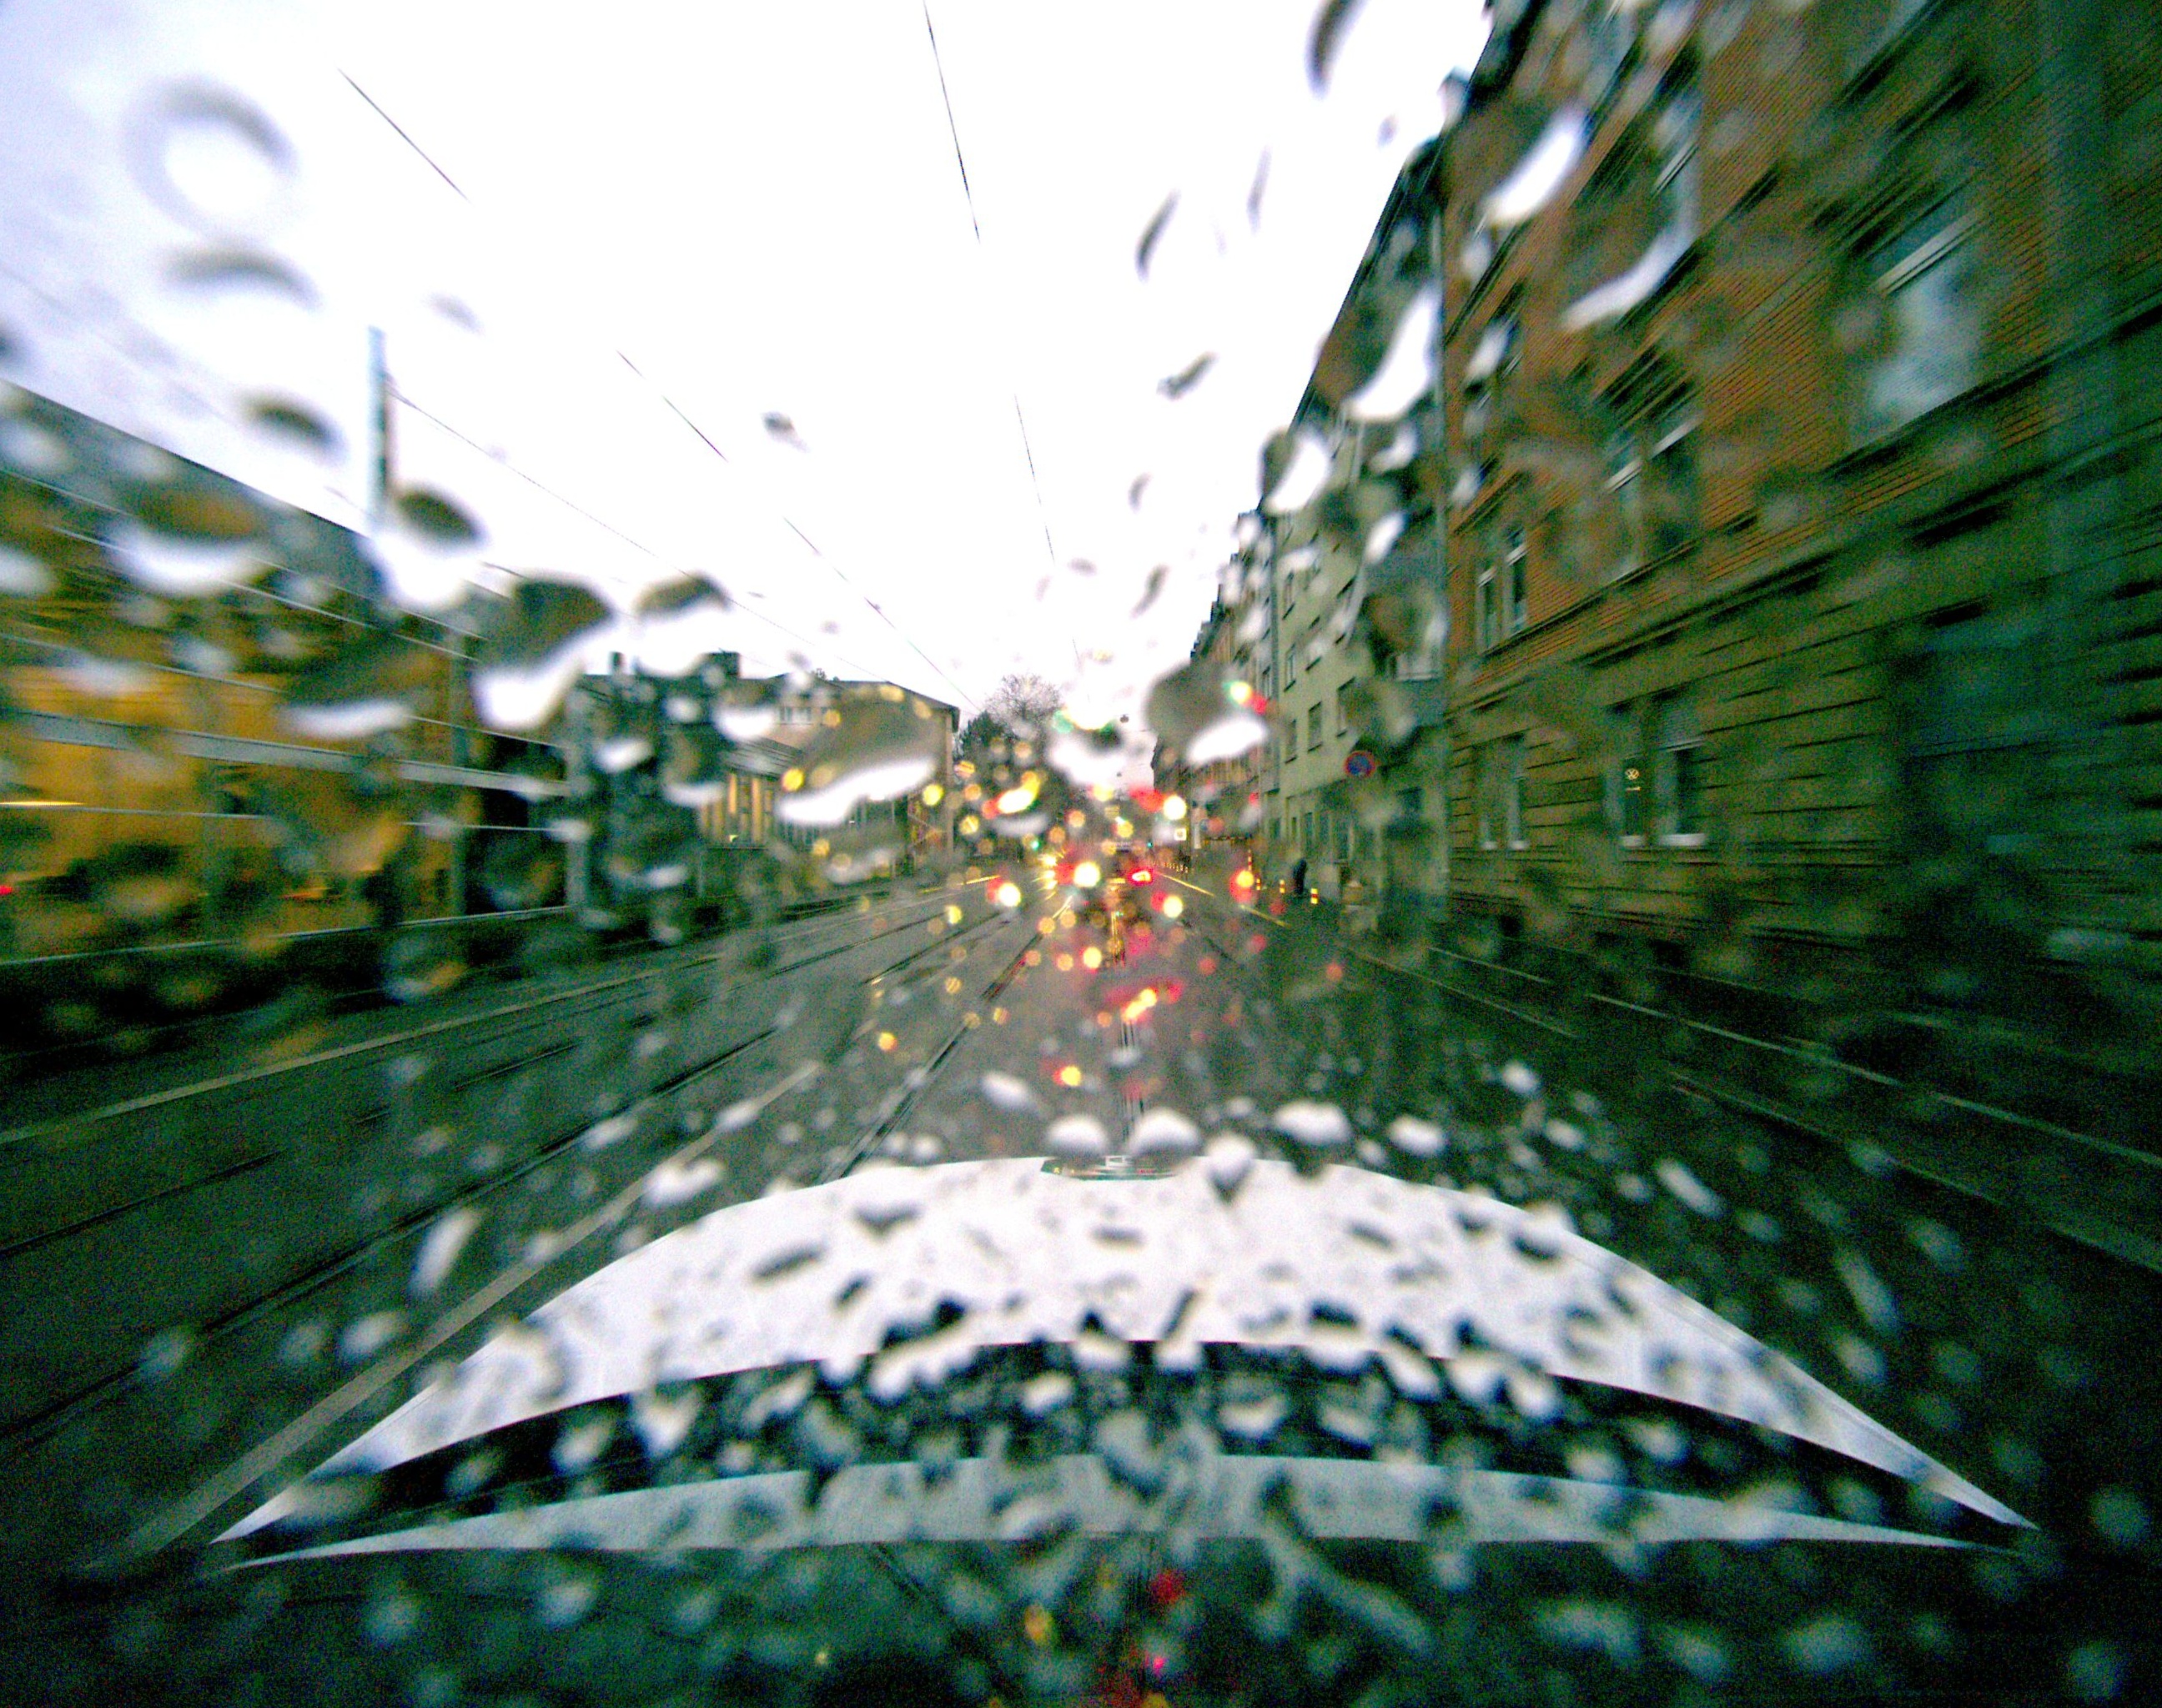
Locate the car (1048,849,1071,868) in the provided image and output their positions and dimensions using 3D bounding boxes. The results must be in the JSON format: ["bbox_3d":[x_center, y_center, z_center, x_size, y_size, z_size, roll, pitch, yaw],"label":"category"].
[{"bbox_3d":[-2.037,0.399,77.553,1.868,1.709,4.762,-2,0,1],"label":"car"}]

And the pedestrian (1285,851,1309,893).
[{"bbox_3d":[7.110,0.587,26.788,0.597,1.376,0.728,0,-1,1],"label":"pedestrian"}]

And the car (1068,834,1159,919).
[{"bbox_3d":[0.882,0.498,20.006,1.984,1.842,4.005,-1,0,5],"label":"car"}]

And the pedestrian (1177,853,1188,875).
[{"bbox_3d":[8.073,0.788,64.598,0.829,1.701,0.956,0,-1,10],"label":"pedestrian"}]

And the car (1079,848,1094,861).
[{"bbox_3d":[1.095,0.091,149.775,2.437,2.347,5.848,-2,0,2],"label":"car"}]

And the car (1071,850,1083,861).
[{"bbox_3d":[-0.507,0.176,112.203,1.524,1.481,3.563,-1,0,2],"label":"car"}]

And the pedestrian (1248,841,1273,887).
[{"bbox_3d":[7.121,0.394,32.310,0.601,1.818,0.769,0,-1,-26],"label":"pedestrian"}]

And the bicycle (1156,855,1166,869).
[{"bbox_3d":[6.441,0.627,65.769,0.681,1.156,2.189,0,0,2],"label":"bicycle"}]
